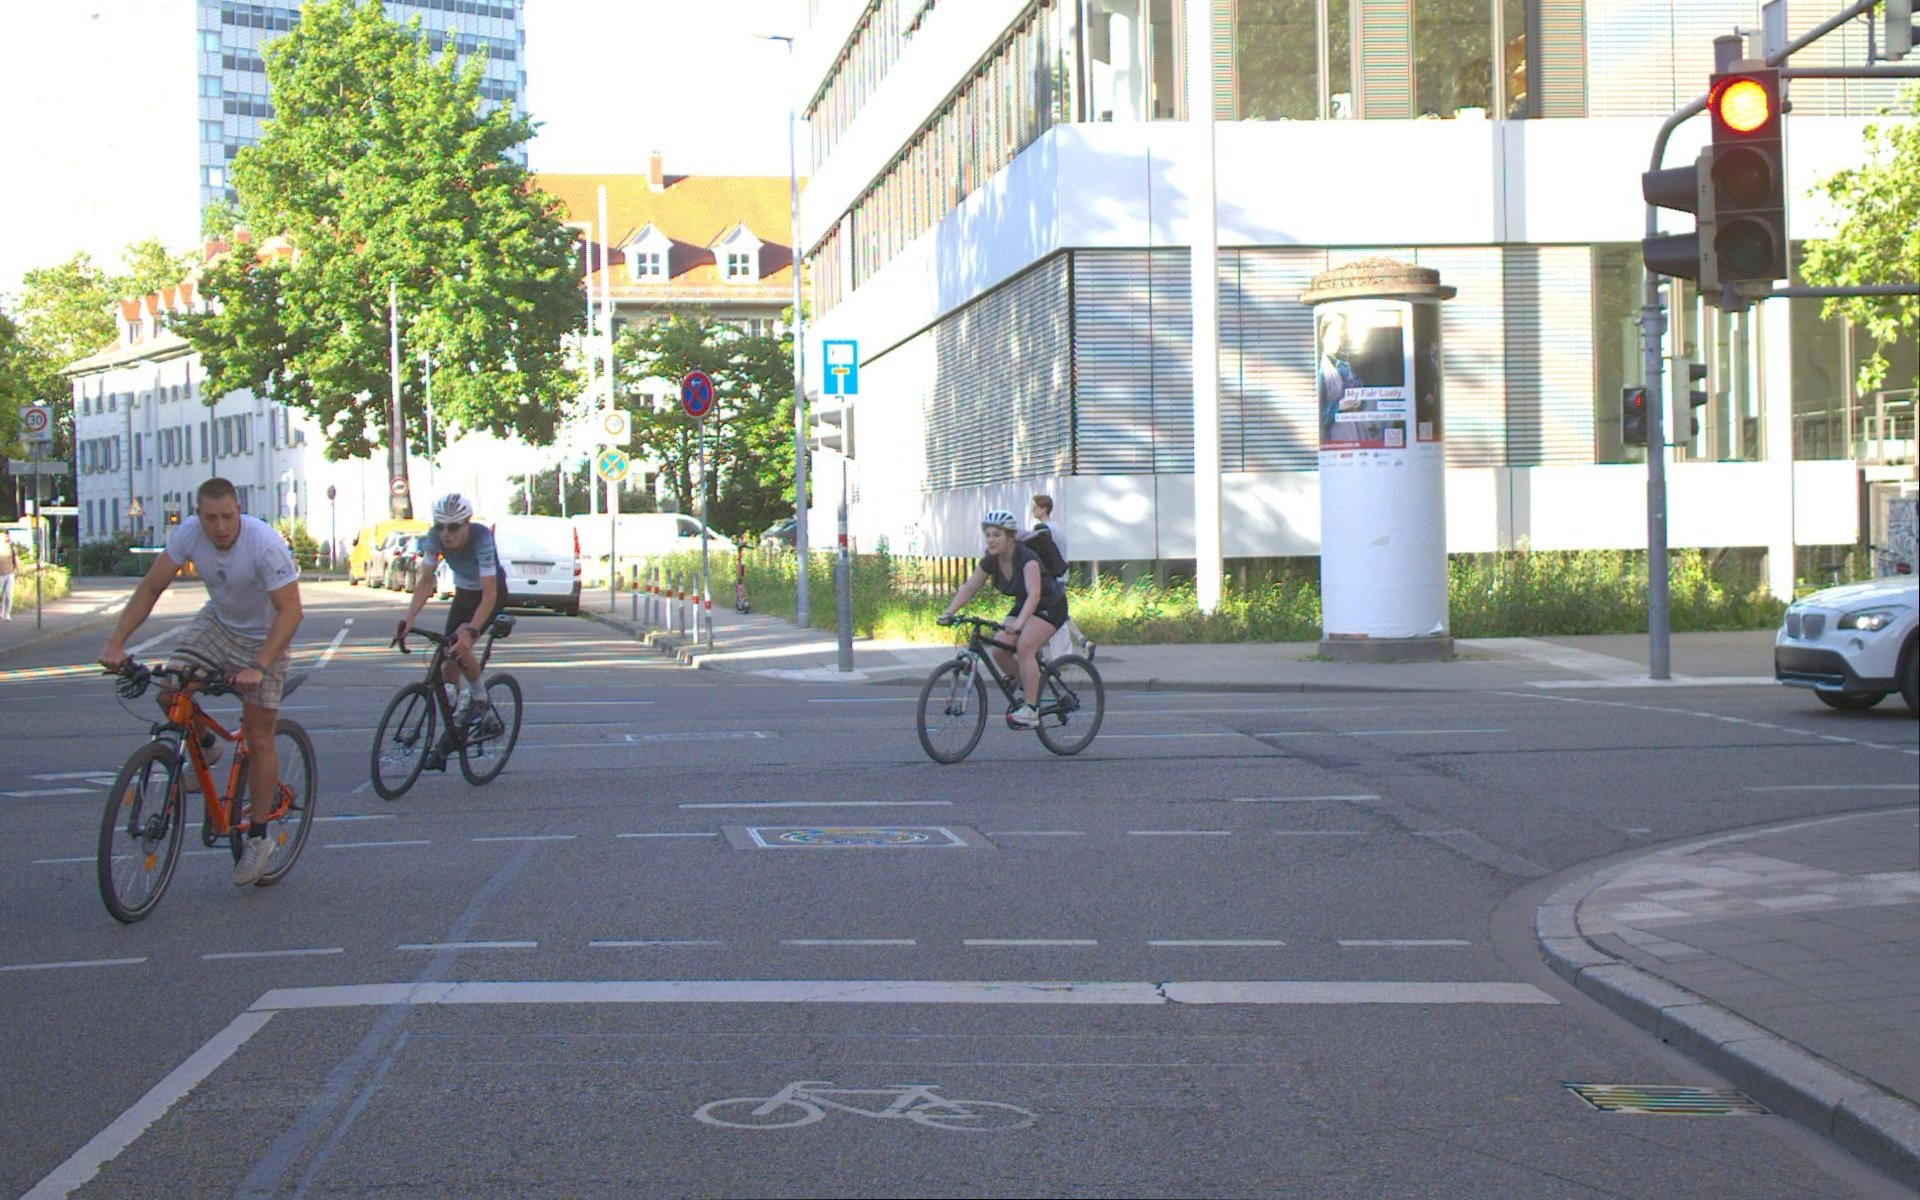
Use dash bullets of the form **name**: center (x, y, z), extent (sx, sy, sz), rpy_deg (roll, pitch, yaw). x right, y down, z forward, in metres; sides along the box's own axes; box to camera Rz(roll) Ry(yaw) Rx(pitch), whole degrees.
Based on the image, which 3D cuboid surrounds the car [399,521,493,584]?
- **car**: center (-12.883, -1.182, 85.973), extent (1.993, 1.493, 4.653), rpy_deg (1, 1, -13)

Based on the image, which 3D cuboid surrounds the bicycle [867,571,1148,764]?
- **bicycle**: center (0.315, 0.407, 21.925), extent (1.779, 1.148, 0.627), rpy_deg (-2, 2, -39)

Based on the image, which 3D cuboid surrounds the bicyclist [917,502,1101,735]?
- **bicyclist**: center (0.313, 0.105, 21.927), extent (0.971, 1.441, 0.627), rpy_deg (-2, 2, -39)

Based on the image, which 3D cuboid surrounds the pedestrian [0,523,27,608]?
- **pedestrian**: center (-17.851, -0.651, 64.397), extent (0.699, 1.581, 0.637), rpy_deg (1, 0, -16)

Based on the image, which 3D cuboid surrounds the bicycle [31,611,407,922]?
- **bicycle**: center (-3.055, 0.653, 14.380), extent (0.626, 1.148, 1.968), rpy_deg (-1, 1, 17)

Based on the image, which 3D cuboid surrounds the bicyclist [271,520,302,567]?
- **bicyclist**: center (-19.913, -1.668, 101.665), extent (0.591, 1.392, 0.747), rpy_deg (-1, 1, 16)

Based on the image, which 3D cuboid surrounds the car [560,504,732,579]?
- **car**: center (-9.407, -1.730, 102.926), extent (4.791, 2.151, 2.001), rpy_deg (1, 0, -17)

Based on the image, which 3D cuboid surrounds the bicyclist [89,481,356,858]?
- **bicyclist**: center (-3.068, 0.271, 14.370), extent (0.702, 1.517, 0.918), rpy_deg (-1, 1, 17)

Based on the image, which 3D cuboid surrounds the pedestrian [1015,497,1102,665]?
- **pedestrian**: center (1.065, -0.205, 36.999), extent (0.765, 1.789, 0.647), rpy_deg (1, 0, 17)

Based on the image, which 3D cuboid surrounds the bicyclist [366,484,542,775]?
- **bicyclist**: center (-2.892, 0.157, 19.686), extent (0.626, 1.623, 0.825), rpy_deg (0, 1, 24)

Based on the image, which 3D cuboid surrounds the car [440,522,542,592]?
- **car**: center (-10.508, -0.951, 76.803), extent (1.993, 1.493, 4.653), rpy_deg (1, 1, -11)

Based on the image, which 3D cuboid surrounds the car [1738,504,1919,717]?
- **car**: center (8.214, 0.038, 25.682), extent (4.354, 1.509, 1.719), rpy_deg (-1, 1, -11)

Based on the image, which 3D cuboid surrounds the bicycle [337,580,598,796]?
- **bicycle**: center (-2.817, 0.484, 19.852), extent (0.626, 1.148, 1.782), rpy_deg (0, 1, 24)

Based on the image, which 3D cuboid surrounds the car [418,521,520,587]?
- **car**: center (-11.630, -1.077, 81.250), extent (1.993, 1.493, 4.288), rpy_deg (1, 1, -13)

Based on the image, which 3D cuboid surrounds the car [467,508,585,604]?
- **car**: center (-8.222, -0.828, 64.818), extent (1.993, 1.719, 4.653), rpy_deg (1, 1, -10)

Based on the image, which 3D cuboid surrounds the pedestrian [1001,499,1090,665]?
- **pedestrian**: center (0.899, -0.192, 36.105), extent (0.765, 1.713, 0.647), rpy_deg (1, 0, 17)

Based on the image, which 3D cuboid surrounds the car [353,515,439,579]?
- **car**: center (-15.743, -1.471, 95.829), extent (1.993, 1.719, 4.653), rpy_deg (1, 1, -14)

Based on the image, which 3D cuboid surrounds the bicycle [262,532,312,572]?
- **bicycle**: center (-19.903, -1.431, 101.687), extent (0.591, 1.148, 1.968), rpy_deg (-1, 1, 16)

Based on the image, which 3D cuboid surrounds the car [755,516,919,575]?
- **car**: center (-3.760, -1.663, 104.770), extent (4.635, 1.719, 2.001), rpy_deg (1, 1, -16)

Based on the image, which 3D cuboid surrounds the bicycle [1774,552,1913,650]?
- **bicycle**: center (9.284, 0.007, 36.145), extent (0.378, 1.005, 1.432), rpy_deg (-2, 2, -42)

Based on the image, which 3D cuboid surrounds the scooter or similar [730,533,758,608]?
- **scooter or similar**: center (-3.661, -0.504, 58.287), extent (0.437, 1.252, 1.420), rpy_deg (-1, 1, -4)
